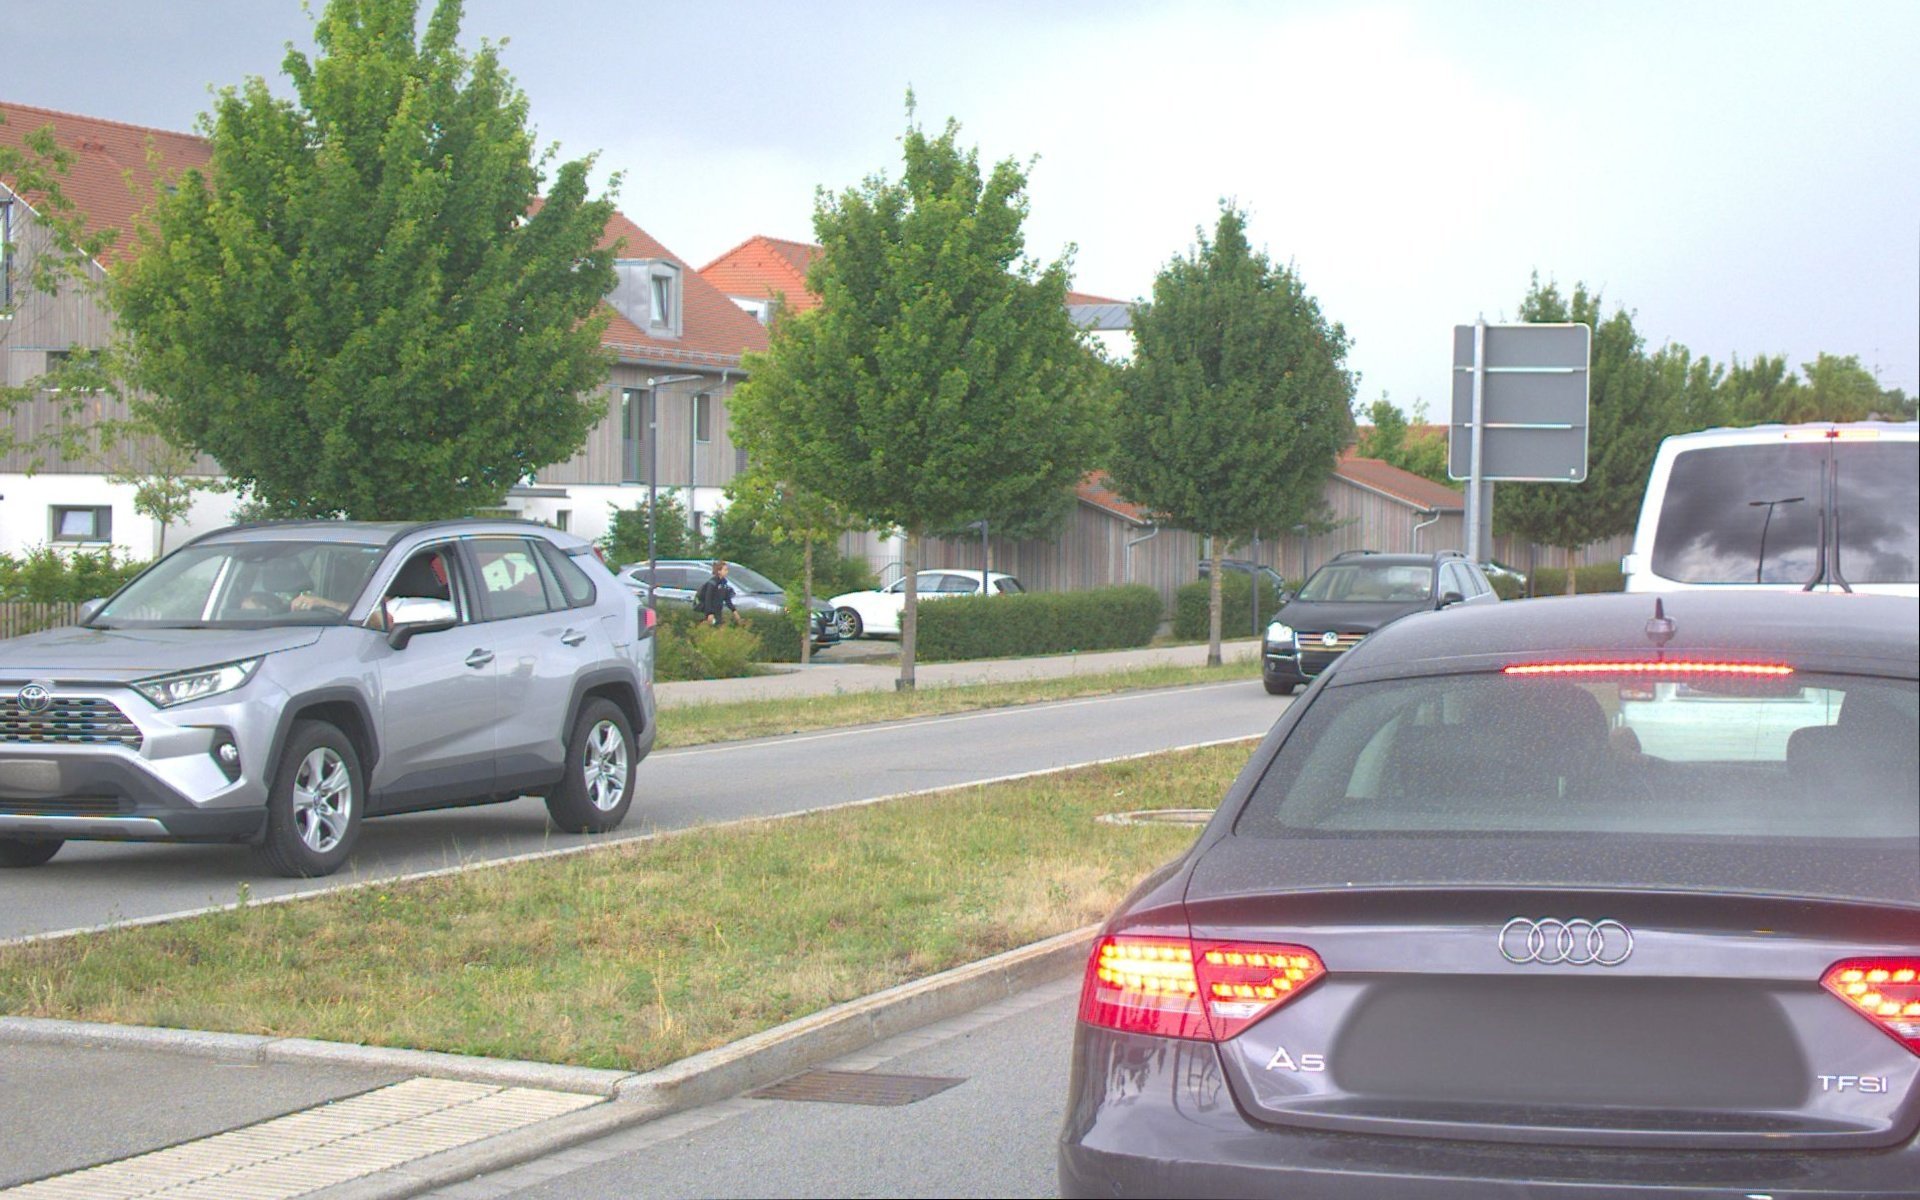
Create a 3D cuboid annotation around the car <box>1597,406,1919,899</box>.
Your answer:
[{"bbox_3d":[4.130,0.186,15.500,1.869,1.927,3.996,2,1,19],"label":"car"}]

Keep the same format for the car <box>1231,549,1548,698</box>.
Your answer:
[{"bbox_3d":[4.527,0.193,35.643,1.756,1.411,4.449,2,2,28],"label":"car"}]

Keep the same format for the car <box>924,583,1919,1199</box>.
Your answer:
[{"bbox_3d":[1.475,0.685,6.657,1.786,1.387,4.129,0,1,19],"label":"car"}]

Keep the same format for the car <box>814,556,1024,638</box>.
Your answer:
[{"bbox_3d":[-0.788,-0.072,67.139,3.733,1.477,1.685,2,1,19],"label":"car"}]

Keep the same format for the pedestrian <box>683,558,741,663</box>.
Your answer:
[{"bbox_3d":[-3.743,0.152,51.900,0.658,1.553,0.582,2,1,25],"label":"pedestrian"}]

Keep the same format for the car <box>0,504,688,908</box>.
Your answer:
[{"bbox_3d":[-3.291,0.407,16.980,1.996,1.698,4.629,1,1,22],"label":"car"}]

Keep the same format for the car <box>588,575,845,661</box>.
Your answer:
[{"bbox_3d":[-4.122,0.290,58.234,3.918,1.310,1.841,2,1,20],"label":"car"}]

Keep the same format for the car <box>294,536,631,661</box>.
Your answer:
[{"bbox_3d":[-7.303,-0.050,50.430,4.536,1.674,1.997,2,1,25],"label":"car"}]

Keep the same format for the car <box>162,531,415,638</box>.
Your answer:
[{"bbox_3d":[-11.652,-0.277,59.968,1.996,1.766,4.459,2,1,27],"label":"car"}]
